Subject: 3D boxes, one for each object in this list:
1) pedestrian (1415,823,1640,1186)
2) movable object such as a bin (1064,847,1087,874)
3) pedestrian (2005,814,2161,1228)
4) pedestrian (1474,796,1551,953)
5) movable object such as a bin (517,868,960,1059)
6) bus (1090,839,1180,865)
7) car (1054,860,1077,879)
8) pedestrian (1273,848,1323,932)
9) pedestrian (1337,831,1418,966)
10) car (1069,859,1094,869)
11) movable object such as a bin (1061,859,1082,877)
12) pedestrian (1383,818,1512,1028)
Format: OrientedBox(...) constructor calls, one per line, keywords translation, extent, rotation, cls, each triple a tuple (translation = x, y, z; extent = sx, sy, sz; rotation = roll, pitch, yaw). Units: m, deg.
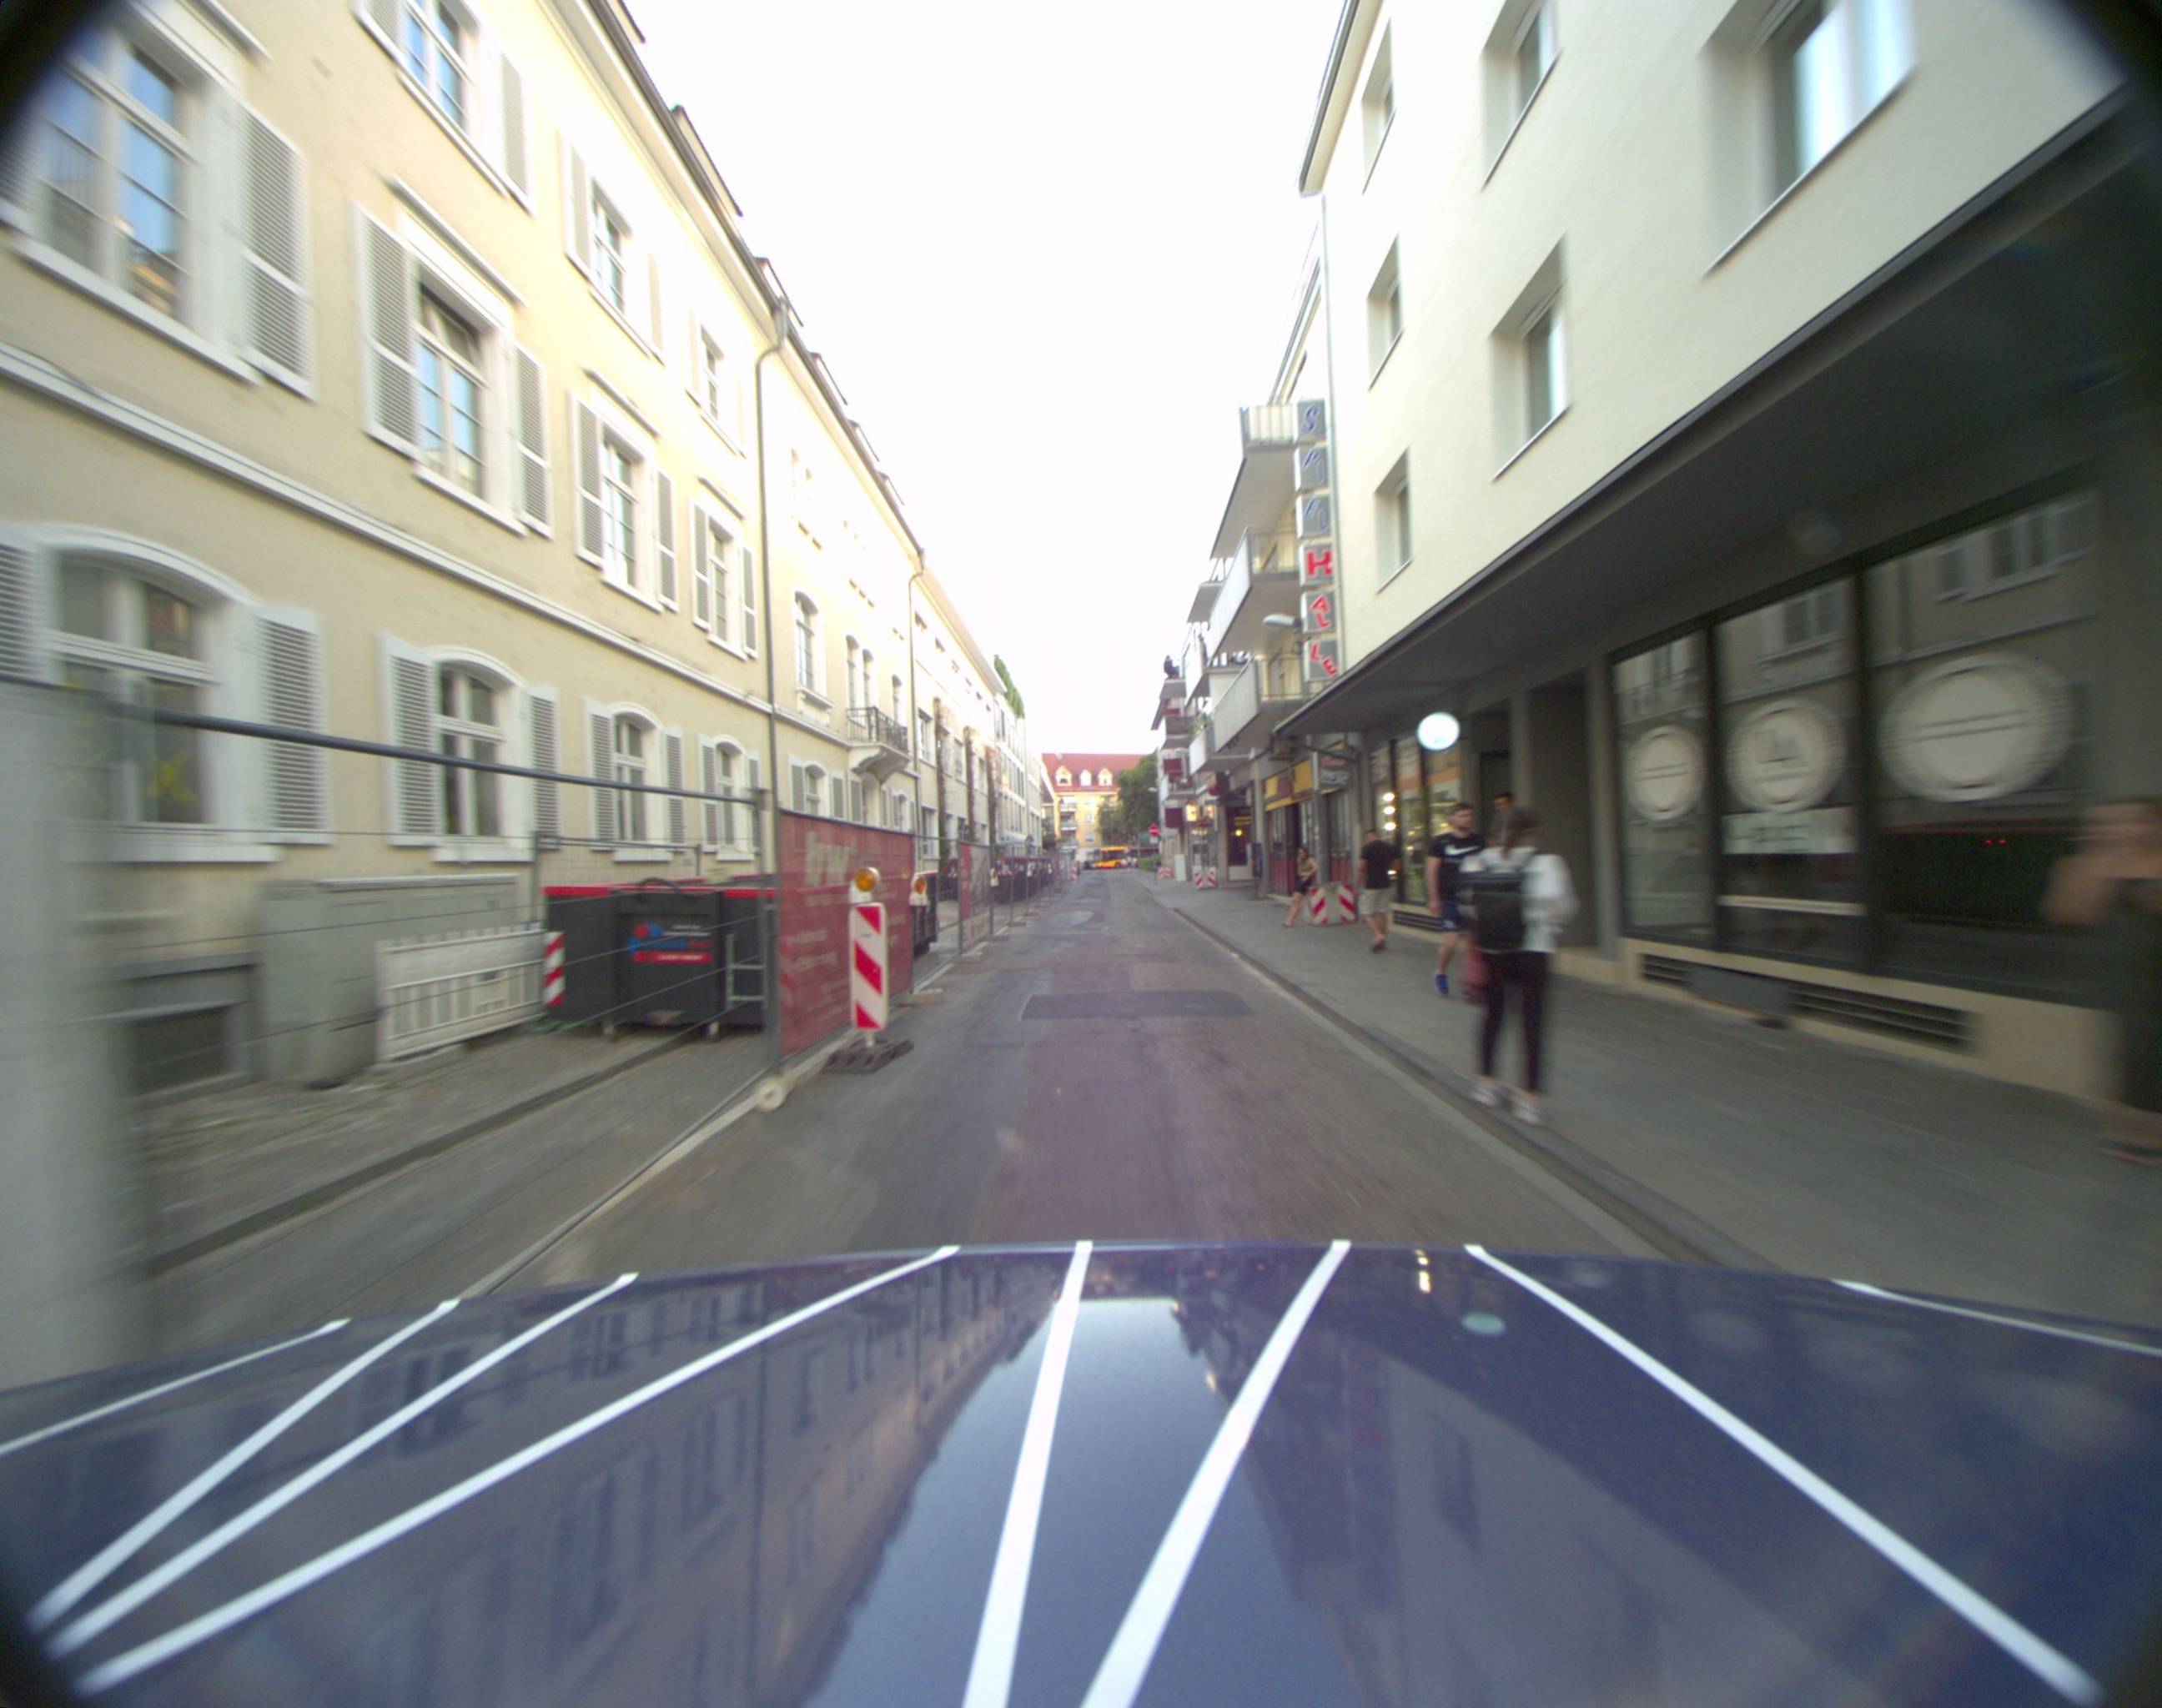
OrientedBox(translation=(2.306, 0.717, 4.031), extent=(0.758, 1.729, 0.785), rotation=(0, 1, 4), cls="pedestrian")
OrientedBox(translation=(-0.553, 0.666, 78.925), extent=(2.096, 2.631, 4.373), rotation=(-3, 0, 2), cls="movable object such as a bin")
OrientedBox(translation=(4.353, 0.625, 3.032), extent=(0.659, 1.560, 0.637), rotation=(-4, 0, -24), cls="pedestrian")
OrientedBox(translation=(5.115, 0.236, 9.034), extent=(0.545, 1.800, 0.613), rotation=(-1, 1, 2), cls="pedestrian")
OrientedBox(translation=(-3.790, 1.091, 10.761), extent=(2.898, 1.655, 7.294), rotation=(-1, -1, 0), cls="movable object such as a bin")
OrientedBox(translation=(7.871, -0.338, 109.899), extent=(12.547, 3.306, 3.917), rotation=(-2, 1, -23), cls="bus")
OrientedBox(translation=(-1.132, 1.151, 57.448), extent=(1.493, 1.285, 3.779), rotation=(-3, 0, 2), cls="car")
OrientedBox(translation=(4.266, 0.694, 14.955), extent=(0.710, 1.569, 0.613), rotation=(-4, 1, -1), cls="pedestrian")
OrientedBox(translation=(4.112, 0.591, 10.605), extent=(0.705, 1.771, 0.933), rotation=(-3, 0, 2), cls="pedestrian")
OrientedBox(translation=(0.073, 1.428, 111.584), extent=(1.795, 1.466, 3.990), rotation=(-1, 0, -31), cls="car")
OrientedBox(translation=(-0.742, 1.140, 62.674), extent=(1.493, 1.285, 3.779), rotation=(-3, 0, 2), cls="movable object such as a bin")
OrientedBox(translation=(3.354, 0.599, 7.033), extent=(0.716, 1.800, 0.933), rotation=(-2, 0, 2), cls="pedestrian")
